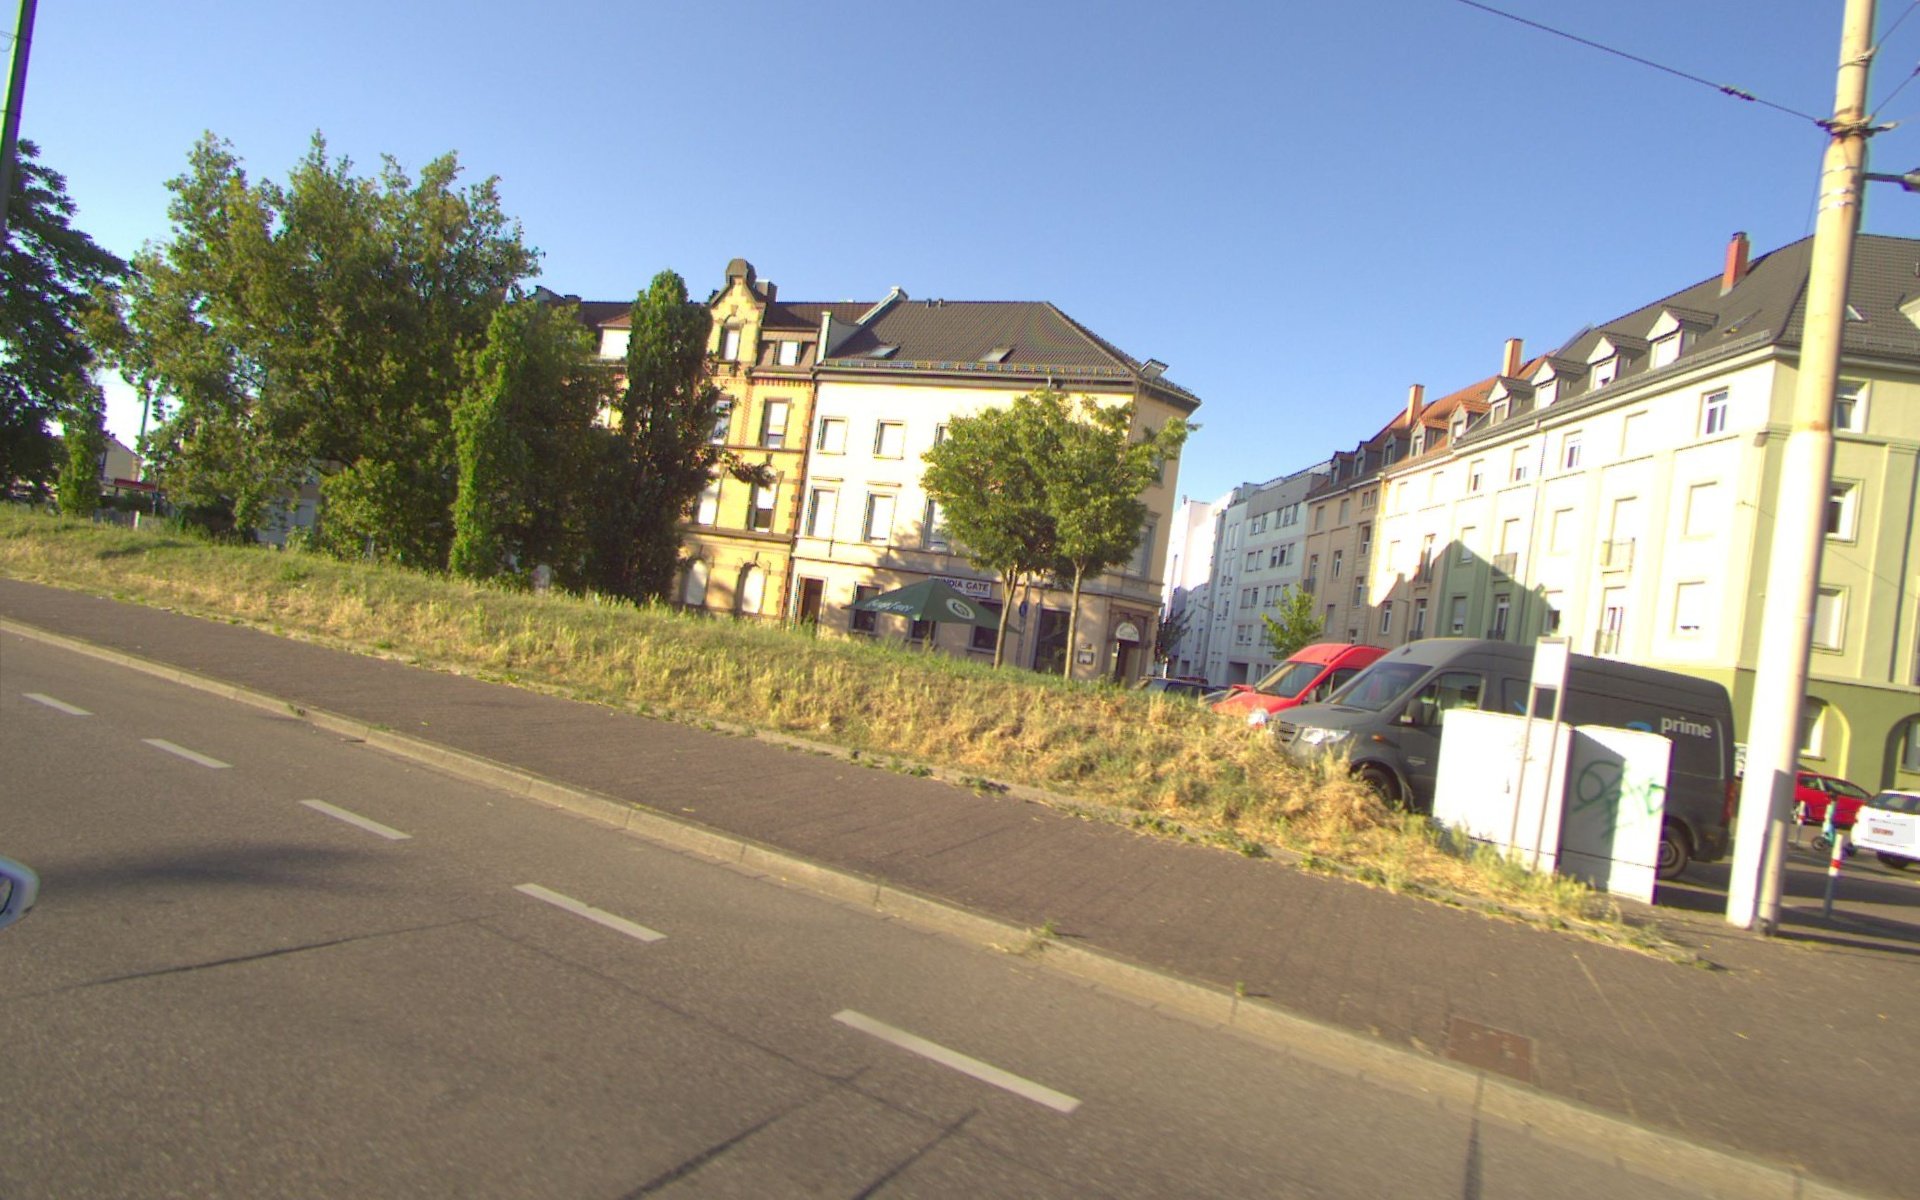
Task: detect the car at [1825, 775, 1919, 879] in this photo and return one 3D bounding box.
[{"bbox_3d":[18.468,4.336,18.331,3.840,1.557,1.926,8,-2,-7],"label":"car"}]

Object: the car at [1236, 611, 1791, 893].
[{"bbox_3d":[7.109,1.914,13.292,6.106,2.697,2.042,8,-1,-5],"label":"car"}]

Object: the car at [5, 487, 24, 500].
[{"bbox_3d":[-141.082,-15.923,150.104,1.853,1.562,3.953,8,-1,-42],"label":"car"}]

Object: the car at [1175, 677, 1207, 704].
[{"bbox_3d":[15.647,6.114,68.191,1.292,1.531,2.865,8,-2,-2],"label":"car"}]

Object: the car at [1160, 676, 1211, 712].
[{"bbox_3d":[10.995,4.587,49.148,1.528,1.400,3.101,8,-2,-2],"label":"car"}]

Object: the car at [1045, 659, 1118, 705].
[{"bbox_3d":[3.831,2.588,32.225,1.496,1.057,3.540,8,-2,-5],"label":"car"}]

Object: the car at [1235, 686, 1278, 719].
[{"bbox_3d":[16.501,5.697,56.047,1.292,1.531,2.865,8,-2,-2],"label":"car"}]

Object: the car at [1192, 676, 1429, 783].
[{"bbox_3d":[6.690,2.466,19.440,3.821,1.389,1.779,8,-1,-5],"label":"car"}]

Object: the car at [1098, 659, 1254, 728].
[{"bbox_3d":[5.736,2.481,26.931,3.642,1.273,1.706,8,-2,-5],"label":"car"}]

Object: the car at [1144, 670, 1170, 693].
[{"bbox_3d":[15.784,6.539,80.775,1.292,1.531,2.690,8,-2,-2],"label":"car"}]

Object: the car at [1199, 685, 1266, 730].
[{"bbox_3d":[11.245,4.428,41.766,1.528,1.400,3.639,8,-2,-2],"label":"car"}]

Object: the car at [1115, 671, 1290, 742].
[{"bbox_3d":[5.782,2.551,24.229,3.642,1.102,1.706,8,-2,-5],"label":"car"}]

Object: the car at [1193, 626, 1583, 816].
[{"bbox_3d":[6.831,1.899,16.407,5.320,2.239,2.042,8,-1,-5],"label":"car"}]

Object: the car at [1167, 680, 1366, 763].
[{"bbox_3d":[6.556,2.590,21.726,3.642,1.175,1.706,8,-2,-5],"label":"car"}]

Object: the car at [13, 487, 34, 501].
[{"bbox_3d":[-130.840,-14.795,140.566,1.853,1.562,3.833,8,-1,-42],"label":"car"}]
